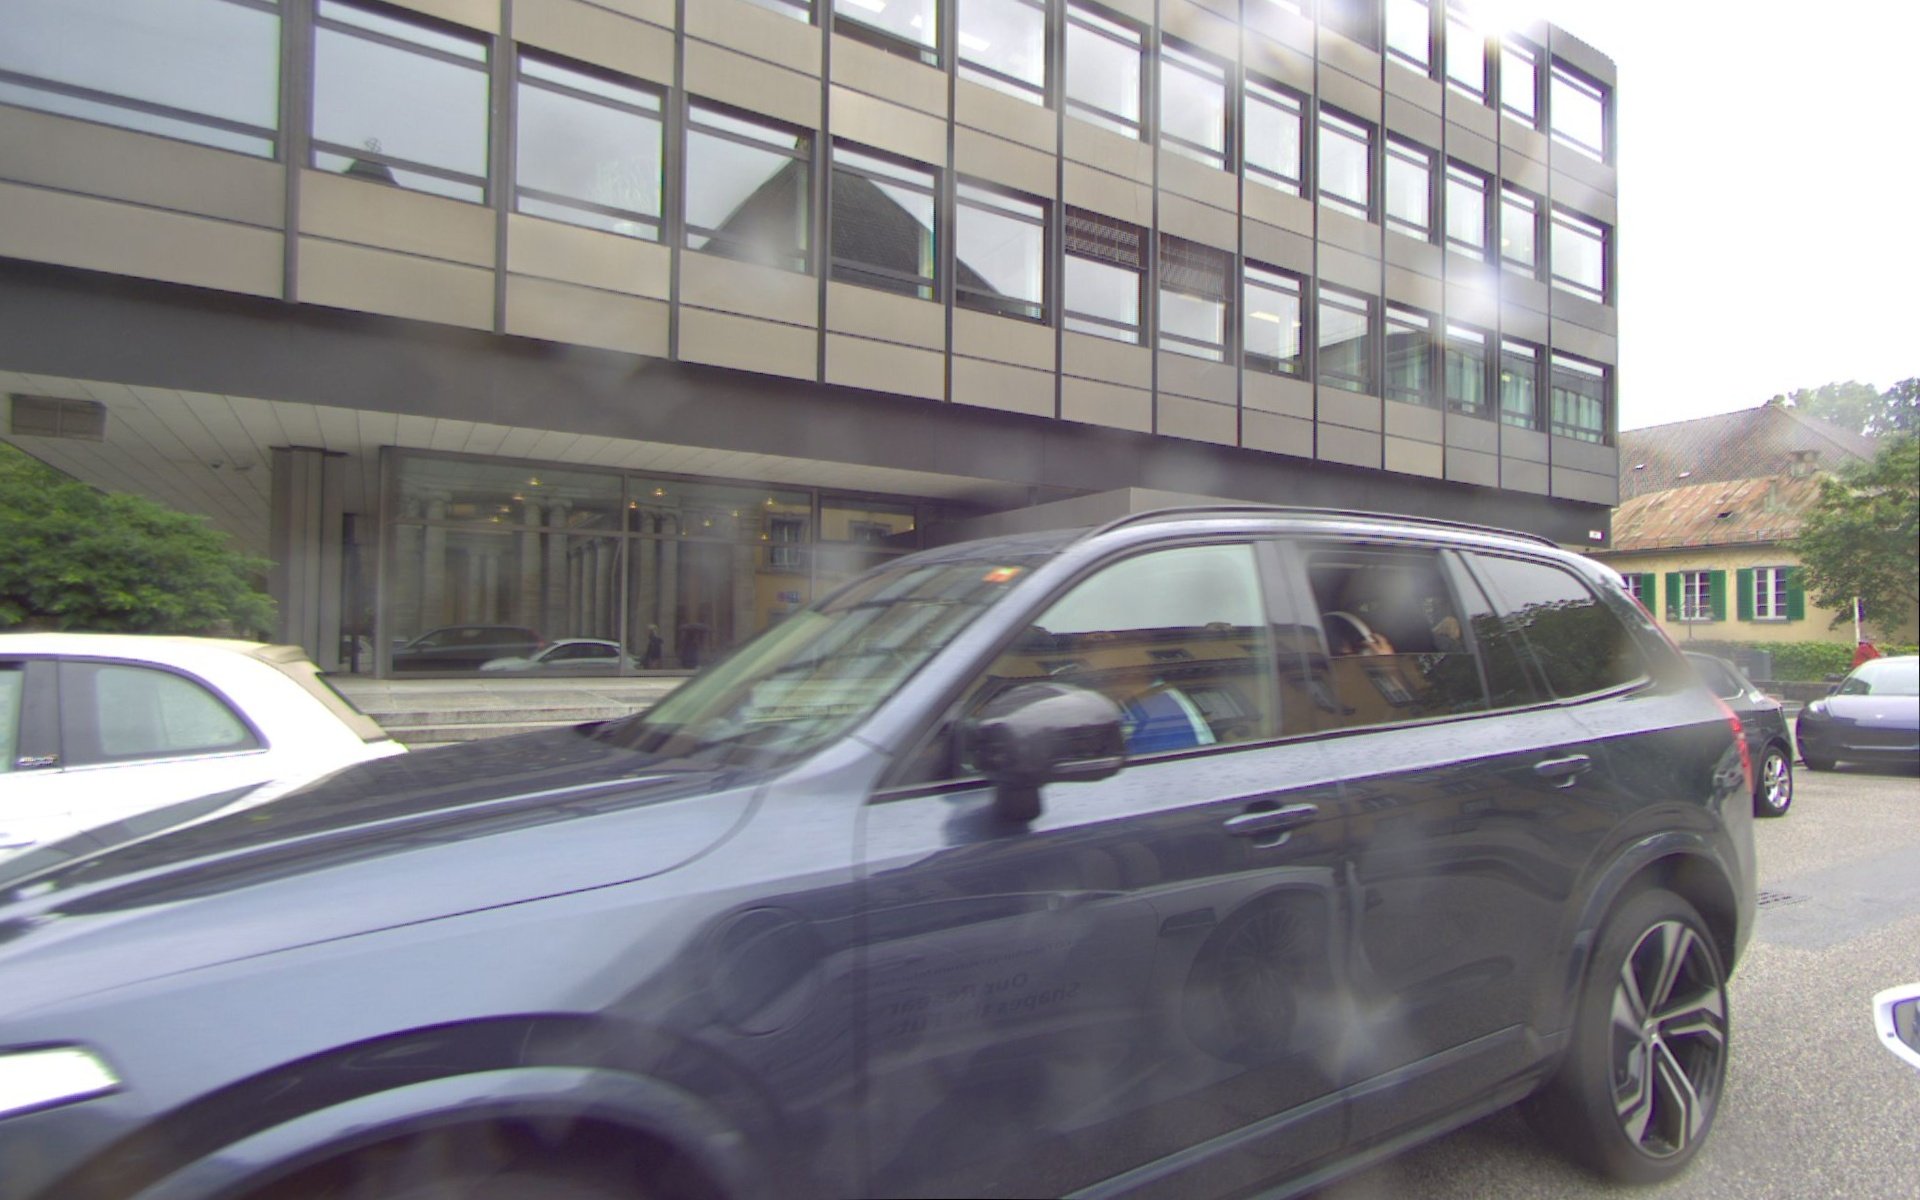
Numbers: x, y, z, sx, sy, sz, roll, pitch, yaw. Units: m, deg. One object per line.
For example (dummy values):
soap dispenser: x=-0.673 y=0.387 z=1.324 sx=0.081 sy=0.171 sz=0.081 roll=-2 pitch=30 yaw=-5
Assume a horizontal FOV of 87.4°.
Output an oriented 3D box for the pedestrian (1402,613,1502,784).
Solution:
pedestrian: x=5.399 y=1.041 z=11.021 sx=0.745 sy=1.772 sz=0.947 roll=-1 pitch=-2 yaw=44

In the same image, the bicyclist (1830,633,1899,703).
bicyclist: x=20.538 y=1.531 z=22.832 sx=1.076 sy=1.517 sz=0.672 roll=0 pitch=-3 yaw=34

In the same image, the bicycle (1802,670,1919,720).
bicycle: x=20.531 y=2.135 z=22.803 sx=2.104 sy=1.017 sz=0.622 roll=0 pitch=-3 yaw=34

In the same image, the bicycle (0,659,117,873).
bicycle: x=-5.937 y=0.955 z=5.816 sx=1.510 sy=1.180 sz=0.639 roll=2 pitch=0 yaw=-32

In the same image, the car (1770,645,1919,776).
car: x=12.551 y=1.349 z=12.870 sx=4.865 sy=1.458 sz=1.913 roll=2 pitch=-4 yaw=-33

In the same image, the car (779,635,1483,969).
car: x=1.168 y=1.007 z=6.237 sx=4.229 sy=1.458 sz=1.674 roll=2 pitch=-5 yaw=-30

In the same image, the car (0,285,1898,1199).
car: x=0.560 y=0.657 z=2.998 sx=4.855 sy=1.703 sz=1.951 roll=2 pitch=-4 yaw=-31

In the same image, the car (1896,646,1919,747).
car: x=16.918 y=1.485 z=15.705 sx=4.825 sy=1.510 sz=1.985 roll=2 pitch=-4 yaw=-30

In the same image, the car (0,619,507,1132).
car: x=-3.542 y=0.832 z=3.390 sx=3.512 sy=1.489 sz=1.536 roll=2 pitch=-4 yaw=-31

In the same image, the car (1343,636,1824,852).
car: x=5.476 y=1.101 z=8.728 sx=4.186 sy=1.480 sz=1.733 roll=2 pitch=-4 yaw=-30

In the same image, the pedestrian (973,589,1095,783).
pedestrian: x=0.713 y=0.804 z=9.745 sx=0.883 sy=1.775 sz=0.684 roll=3 pitch=-1 yaw=-33

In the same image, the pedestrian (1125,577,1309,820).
pedestrian: x=2.403 y=0.864 z=9.443 sx=1.207 sy=2.082 sz=1.129 roll=2 pitch=-1 yaw=-31
